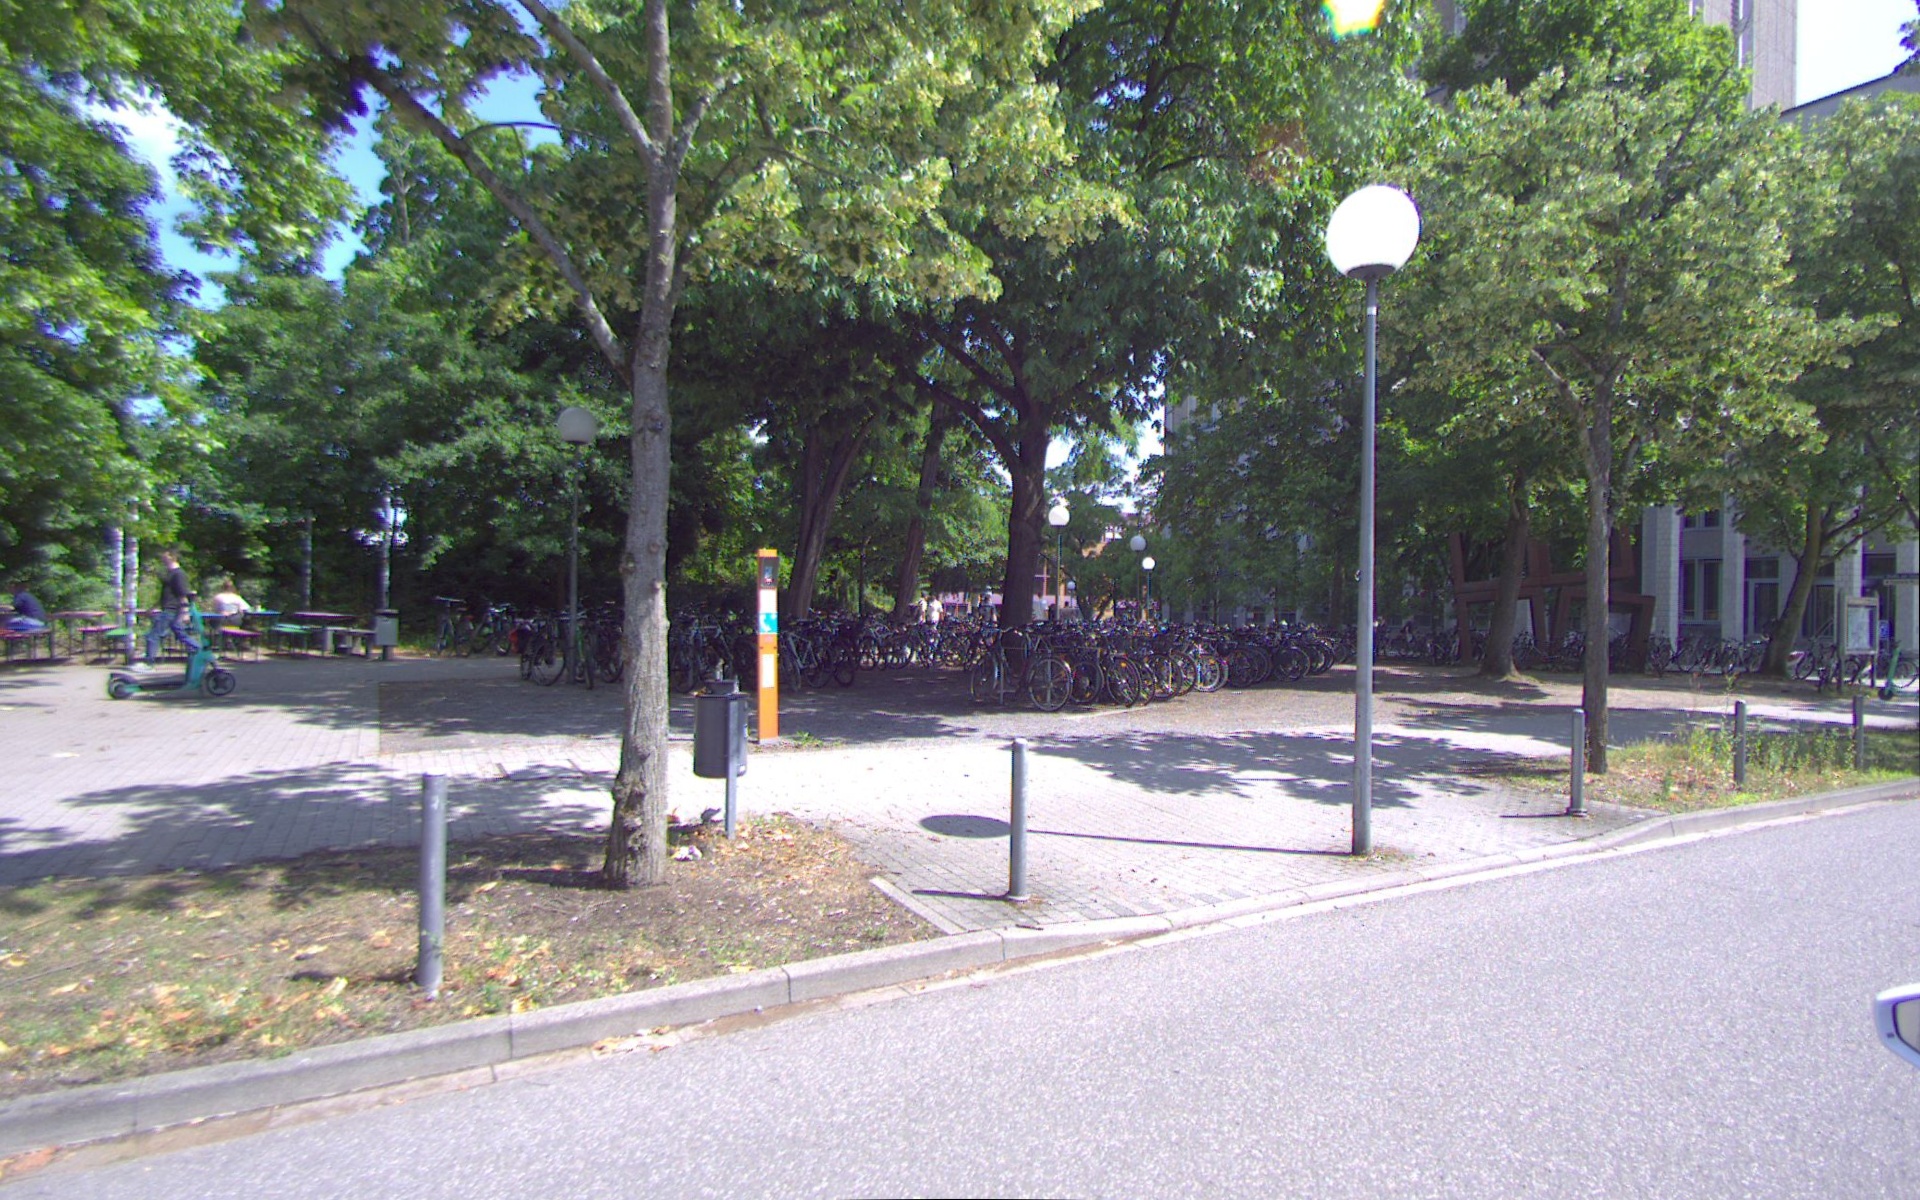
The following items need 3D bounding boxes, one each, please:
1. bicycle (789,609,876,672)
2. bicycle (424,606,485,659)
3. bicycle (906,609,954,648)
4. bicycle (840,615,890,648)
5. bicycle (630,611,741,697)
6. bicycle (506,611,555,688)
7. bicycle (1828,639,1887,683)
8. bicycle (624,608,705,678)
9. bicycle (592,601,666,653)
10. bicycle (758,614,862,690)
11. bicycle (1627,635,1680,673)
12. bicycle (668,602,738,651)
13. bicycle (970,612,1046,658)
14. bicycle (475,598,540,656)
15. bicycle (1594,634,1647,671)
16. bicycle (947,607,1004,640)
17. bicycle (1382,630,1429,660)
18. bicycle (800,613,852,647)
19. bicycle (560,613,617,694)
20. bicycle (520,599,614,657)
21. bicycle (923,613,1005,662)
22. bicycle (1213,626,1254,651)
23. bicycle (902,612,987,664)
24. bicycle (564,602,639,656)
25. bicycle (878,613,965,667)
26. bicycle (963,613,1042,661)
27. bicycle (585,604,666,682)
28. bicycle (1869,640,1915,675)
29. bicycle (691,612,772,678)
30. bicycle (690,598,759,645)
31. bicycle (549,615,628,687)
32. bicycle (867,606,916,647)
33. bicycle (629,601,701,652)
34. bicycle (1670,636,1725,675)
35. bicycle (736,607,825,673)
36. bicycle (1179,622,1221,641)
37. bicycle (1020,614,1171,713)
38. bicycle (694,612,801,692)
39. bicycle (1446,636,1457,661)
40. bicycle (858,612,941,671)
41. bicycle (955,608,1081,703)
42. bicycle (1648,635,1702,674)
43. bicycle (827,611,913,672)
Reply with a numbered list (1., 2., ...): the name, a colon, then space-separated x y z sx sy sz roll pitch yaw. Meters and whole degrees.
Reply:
1. bicycle: -2.492 0.757 19.420 1.940 1.104 0.544 2 0 44
2. bicycle: -9.908 0.618 19.661 0.542 0.955 1.860 3 -1 -43
3. bicycle: -0.991 0.929 33.065 1.772 1.223 0.421 2 1 44
4. bicycle: -2.895 0.954 30.587 1.741 0.906 0.417 2 0 41
5. bicycle: -3.921 0.732 14.293 1.832 1.104 0.545 2 0 39
6. bicycle: -6.368 0.702 14.870 0.530 1.028 1.796 1 0 -27
7. bicycle: 23.678 1.607 26.491 1.950 1.101 0.549 2 1 -31
8. bicycle: -4.908 0.688 16.624 0.533 1.041 1.944 1 0 -40
9. bicycle: -7.591 0.615 23.010 1.927 1.105 0.595 2 -1 38
10. bicycle: -2.428 0.809 16.093 1.832 1.104 0.545 2 0 39
11. bicycle: 21.369 1.656 30.956 1.950 1.101 0.549 2 1 -31
12. bicycle: -6.323 0.637 24.658 1.927 1.105 0.595 2 -1 38
13. bicycle: 1.241 0.895 26.256 1.933 1.104 0.546 2 0 31
14. bicycle: -9.247 0.532 20.502 0.593 1.105 1.933 3 -1 -43
15. bicycle: 20.768 1.649 31.575 1.950 1.101 0.549 2 1 -31
16. bicycle: 0.530 0.815 34.934 2.028 1.049 0.504 2 0 37
17. bicycle: 16.901 1.698 38.106 1.950 1.101 0.549 2 1 -31
18. bicycle: -3.894 0.868 29.072 1.741 0.906 0.417 2 0 41
19. bicycle: -5.308 0.726 14.297 0.531 1.028 1.795 1 0 -27
20. bicycle: -8.289 0.585 21.187 1.920 1.105 0.597 2 -1 21
21. bicycle: 0.082 0.884 24.185 1.933 1.104 0.546 2 0 31
22. bicycle: 12.540 1.774 46.052 1.950 1.101 0.549 2 1 -31
23. bicycle: -0.373 0.858 23.080 1.933 1.104 0.546 2 0 31
24. bicycle: -7.969 0.628 22.295 1.927 1.105 0.595 2 -1 38
25. bicycle: -0.861 0.866 22.165 1.933 1.104 0.546 2 0 31
26. bicycle: 1.050 0.909 25.224 1.933 1.104 0.546 2 0 31
27. bicycle: -5.410 0.666 16.176 0.533 1.141 1.944 1 0 -40
28. bicycle: 29.914 1.822 32.229 1.840 1.028 0.463 -1 2 -27
29. bicycle: -4.009 0.761 17.533 0.533 1.041 1.944 1 0 -40
30. bicycle: -5.982 0.536 25.474 1.927 1.105 0.595 2 -1 38
31. bicycle: -5.858 0.770 15.781 0.533 1.016 1.944 1 0 -40
32. bicycle: -2.166 0.811 31.539 1.772 1.223 0.421 2 1 44
33. bicycle: -7.003 0.623 23.830 1.927 1.105 0.595 2 -1 38
34. bicycle: 21.902 1.641 29.812 1.950 1.101 0.549 2 1 -31
35. bicycle: -3.294 0.706 18.323 1.939 1.104 0.534 2 0 43
36. bicycle: 11.465 1.503 47.970 2.258 0.887 0.417 2 0 -31
37. bicycle: 1.908 0.866 14.348 2.031 1.251 0.804 2 0 43
38. bicycle: -3.247 0.763 15.247 1.832 1.104 0.545 2 0 39
39. bicycle: 16.447 1.628 33.613 0.317 0.773 1.559 2 0 26
40. bicycle: -1.279 0.839 20.870 1.940 1.104 0.544 2 0 44
41. bicycle: 0.743 0.709 13.350 1.754 1.147 0.456 2 0 43
42. bicycle: 21.581 1.644 30.326 1.950 1.101 0.549 2 1 -31
43. bicycle: -1.810 0.806 20.032 1.940 1.104 0.544 2 0 44
